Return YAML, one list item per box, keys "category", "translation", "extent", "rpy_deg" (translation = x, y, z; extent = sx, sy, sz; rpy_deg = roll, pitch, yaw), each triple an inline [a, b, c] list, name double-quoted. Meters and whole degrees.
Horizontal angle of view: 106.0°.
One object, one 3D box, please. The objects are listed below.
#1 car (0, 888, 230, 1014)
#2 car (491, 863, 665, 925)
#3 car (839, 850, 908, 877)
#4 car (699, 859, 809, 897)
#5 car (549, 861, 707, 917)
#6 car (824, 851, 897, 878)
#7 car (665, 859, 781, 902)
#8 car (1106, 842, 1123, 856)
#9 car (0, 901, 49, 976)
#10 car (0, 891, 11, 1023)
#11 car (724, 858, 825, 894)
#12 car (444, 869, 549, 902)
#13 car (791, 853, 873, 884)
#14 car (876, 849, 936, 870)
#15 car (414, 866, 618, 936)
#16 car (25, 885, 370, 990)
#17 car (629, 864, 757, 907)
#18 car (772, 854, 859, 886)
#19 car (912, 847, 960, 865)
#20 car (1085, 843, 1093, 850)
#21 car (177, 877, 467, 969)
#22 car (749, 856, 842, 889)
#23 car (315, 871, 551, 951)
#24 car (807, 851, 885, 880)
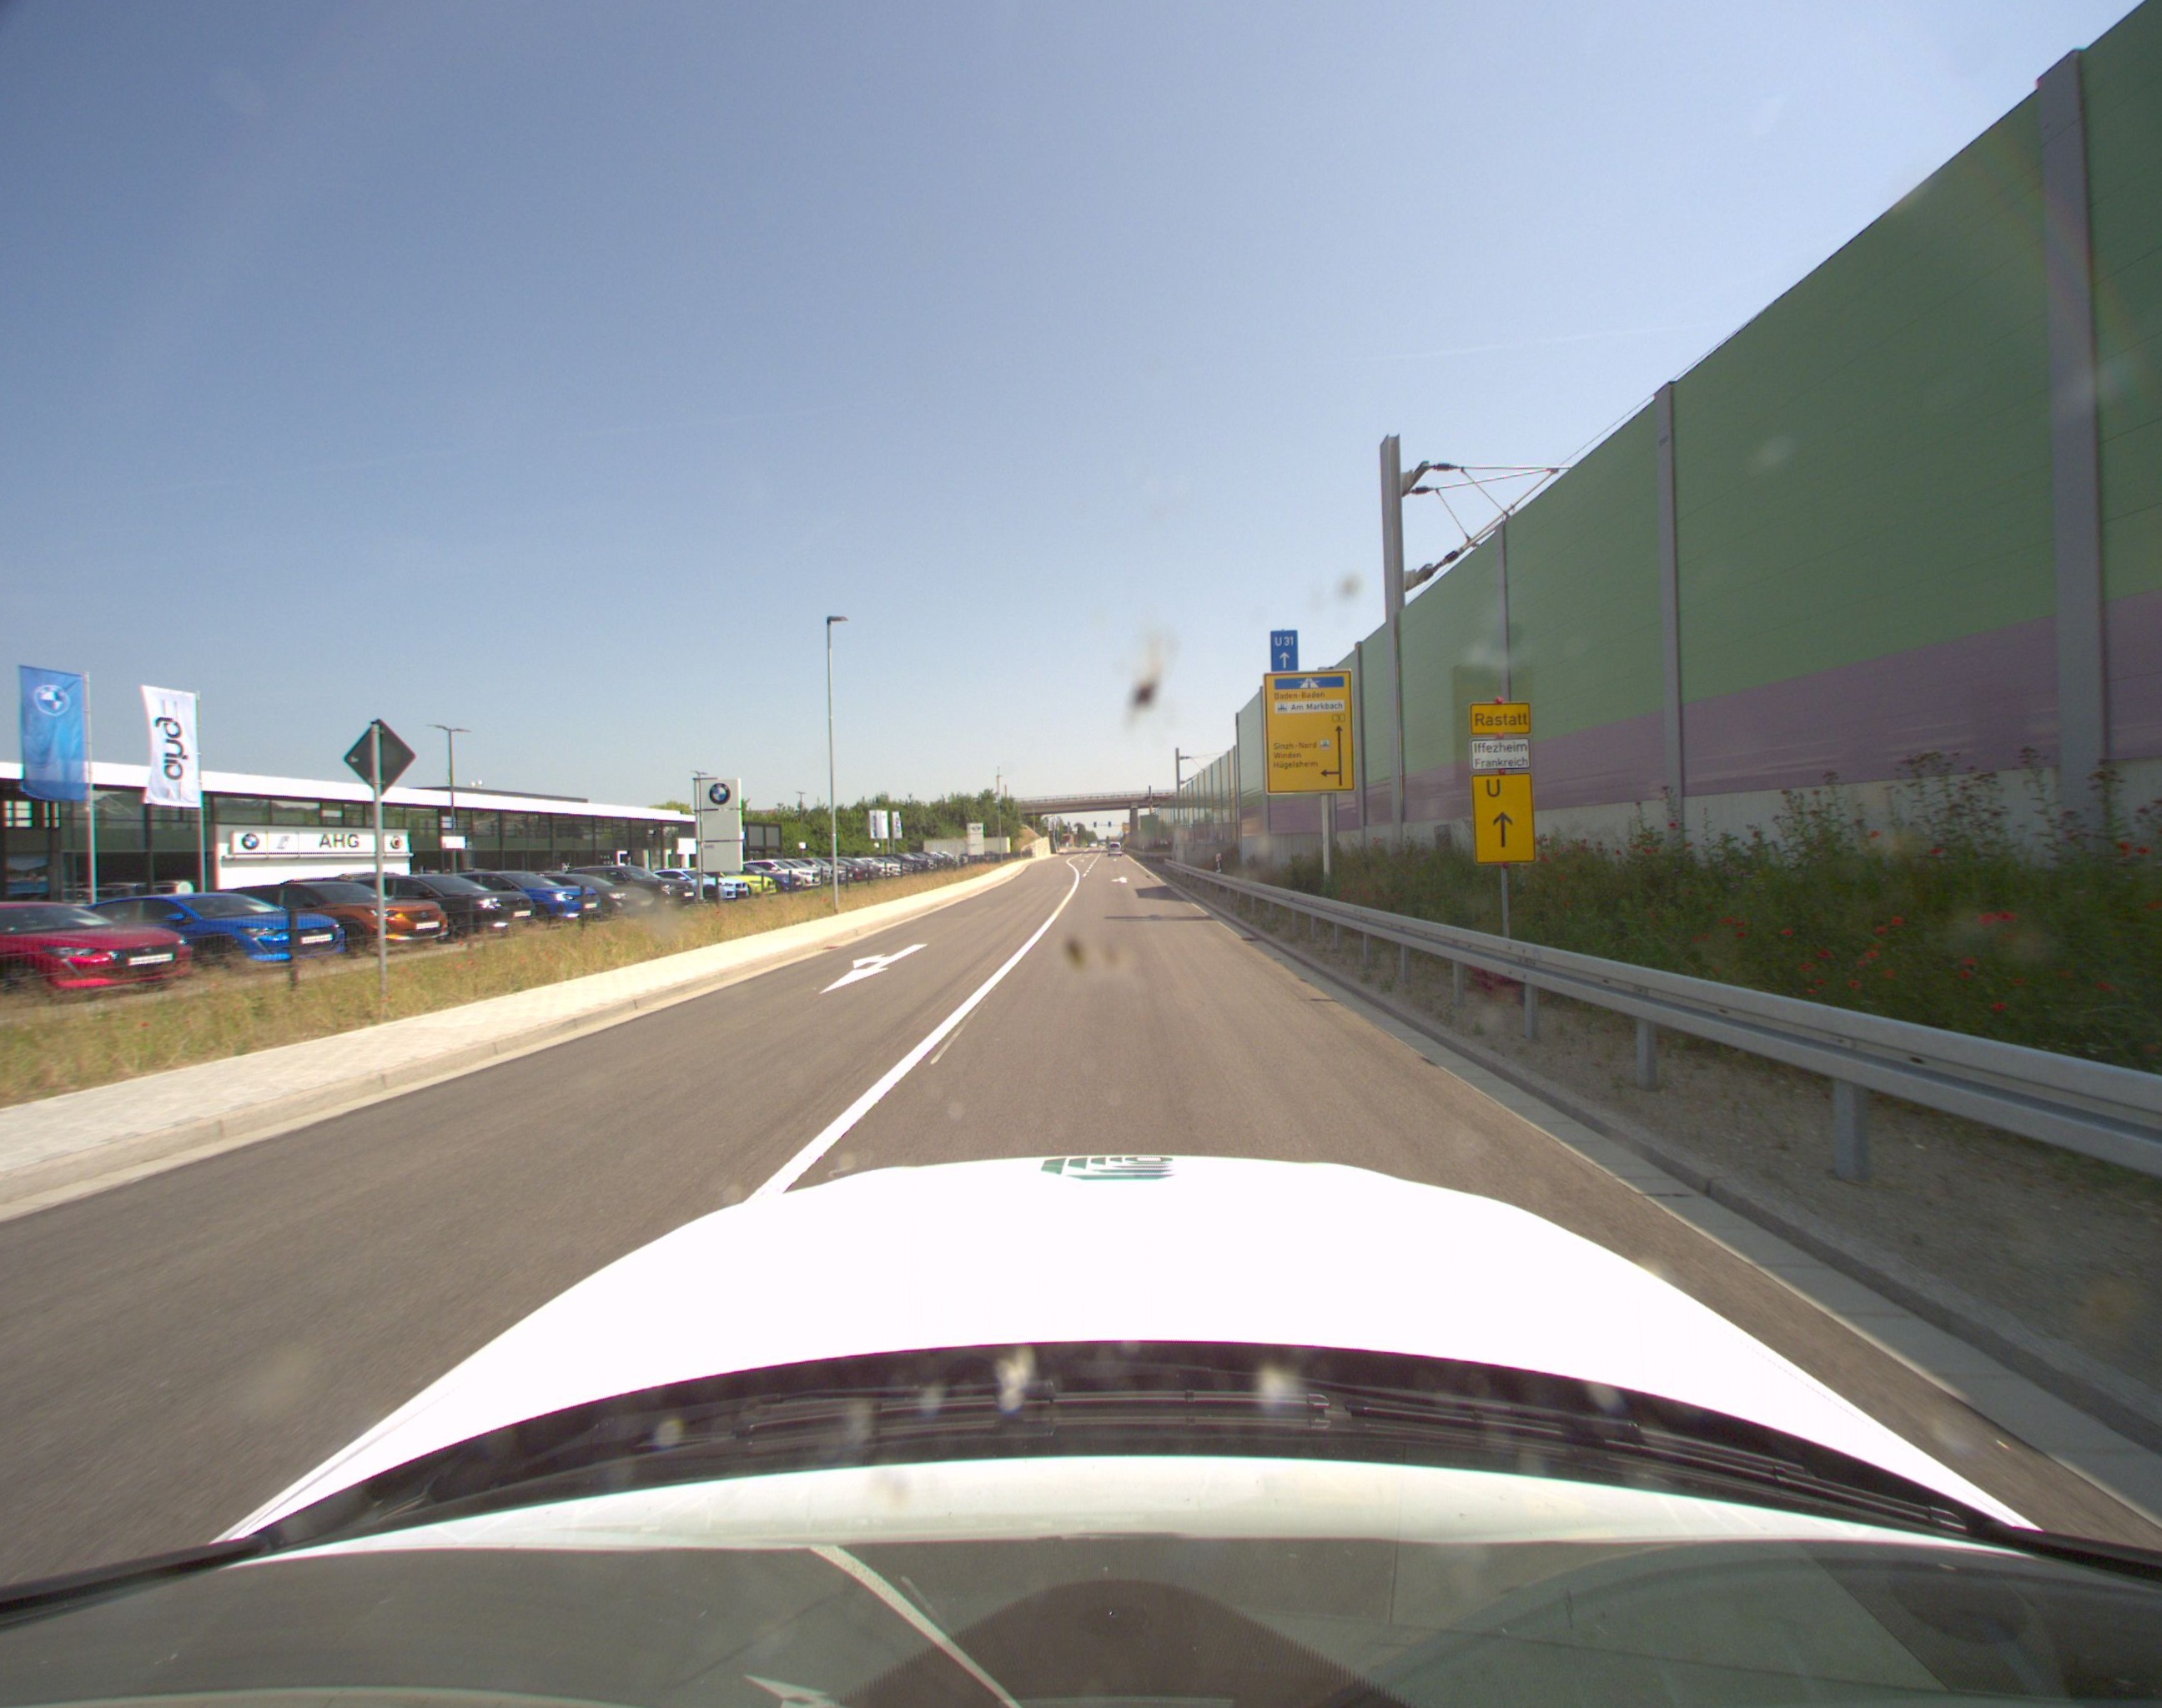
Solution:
- category: "car"
  translation: [-15.370, 1.406, 11.835]
  extent: [3.974, 1.528, 1.815]
  rpy_deg: [-3, 1, 0]
- category: "car"
  translation: [-14.934, 1.158, 24.358]
  extent: [3.974, 1.534, 1.815]
  rpy_deg: [-3, 1, 0]
- category: "car"
  translation: [-14.201, 0.642, 55.884]
  extent: [4.148, 1.545, 1.816]
  rpy_deg: [-3, 1, 2]
- category: "car"
  translation: [-14.841, 1.080, 37.086]
  extent: [4.148, 1.466, 1.816]
  rpy_deg: [-3, 1, 2]
- category: "car"
  translation: [-14.948, 1.124, 27.058]
  extent: [3.974, 1.572, 2.054]
  rpy_deg: [-3, 1, 0]
- category: "car"
  translation: [-14.379, 0.659, 53.192]
  extent: [4.148, 1.545, 1.816]
  rpy_deg: [-3, 1, 2]
- category: "car"
  translation: [-15.008, 1.098, 34.289]
  extent: [3.971, 1.534, 1.816]
  rpy_deg: [-3, 1, 2]
- category: "car"
  translation: [4.417, -0.671, 106.638]
  extent: [1.985, 1.757, 4.004]
  rpy_deg: [-2, 1, 3]
- category: "car"
  translation: [-24.590, 1.892, 16.878]
  extent: [3.974, 1.494, 1.815]
  rpy_deg: [-3, 1, 0]
- category: "car"
  translation: [-15.470, 1.393, 9.295]
  extent: [3.974, 1.635, 1.815]
  rpy_deg: [-3, 1, 0]
- category: "car"
  translation: [-14.967, 1.051, 39.849]
  extent: [4.148, 1.466, 1.816]
  rpy_deg: [-3, 1, 2]
- category: "car"
  translation: [-30.507, 1.627, 42.589]
  extent: [4.148, 1.466, 1.816]
  rpy_deg: [-3, 1, 2]
- category: "car"
  translation: [-14.618, 0.824, 47.900]
  extent: [4.148, 1.545, 1.816]
  rpy_deg: [-3, 1, 2]
- category: "car"
  translation: [-13.660, 0.414, 63.773]
  extent: [4.148, 1.466, 1.816]
  rpy_deg: [-3, 1, 2]
- category: "car"
  translation: [-14.960, 1.216, 21.750]
  extent: [3.974, 1.534, 1.971]
  rpy_deg: [-3, 1, -1]
- category: "car"
  translation: [-15.284, 1.404, 14.268]
  extent: [3.974, 1.444, 1.786]
  rpy_deg: [-3, 1, 0]
- category: "car"
  translation: [-15.036, 1.192, 31.708]
  extent: [3.971, 1.391, 1.880]
  rpy_deg: [-3, 1, 2]
- category: "car"
  translation: [-14.768, 0.887, 45.491]
  extent: [4.148, 1.545, 1.816]
  rpy_deg: [-3, 1, 2]
- category: "car"
  translation: [-13.607, 0.155, 76.606]
  extent: [4.148, 1.466, 1.816]
  rpy_deg: [-3, 1, 2]
- category: "car"
  translation: [2.320, -2.079, 224.361]
  extent: [1.986, 1.926, 4.002]
  rpy_deg: [-3, 0, 2]
- category: "car"
  translation: [-15.207, 1.343, 16.508]
  extent: [3.974, 1.494, 1.915]
  rpy_deg: [-3, 1, 0]
- category: "car"
  translation: [-14.922, 0.947, 42.736]
  extent: [4.148, 1.466, 1.816]
  rpy_deg: [-3, 1, 2]
- category: "car"
  translation: [-15.105, 1.286, 19.141]
  extent: [3.974, 1.534, 1.815]
  rpy_deg: [-3, 1, 0]
- category: "car"
  translation: [-14.489, 0.719, 50.378]
  extent: [4.148, 1.545, 1.816]
  rpy_deg: [-3, 1, 2]
